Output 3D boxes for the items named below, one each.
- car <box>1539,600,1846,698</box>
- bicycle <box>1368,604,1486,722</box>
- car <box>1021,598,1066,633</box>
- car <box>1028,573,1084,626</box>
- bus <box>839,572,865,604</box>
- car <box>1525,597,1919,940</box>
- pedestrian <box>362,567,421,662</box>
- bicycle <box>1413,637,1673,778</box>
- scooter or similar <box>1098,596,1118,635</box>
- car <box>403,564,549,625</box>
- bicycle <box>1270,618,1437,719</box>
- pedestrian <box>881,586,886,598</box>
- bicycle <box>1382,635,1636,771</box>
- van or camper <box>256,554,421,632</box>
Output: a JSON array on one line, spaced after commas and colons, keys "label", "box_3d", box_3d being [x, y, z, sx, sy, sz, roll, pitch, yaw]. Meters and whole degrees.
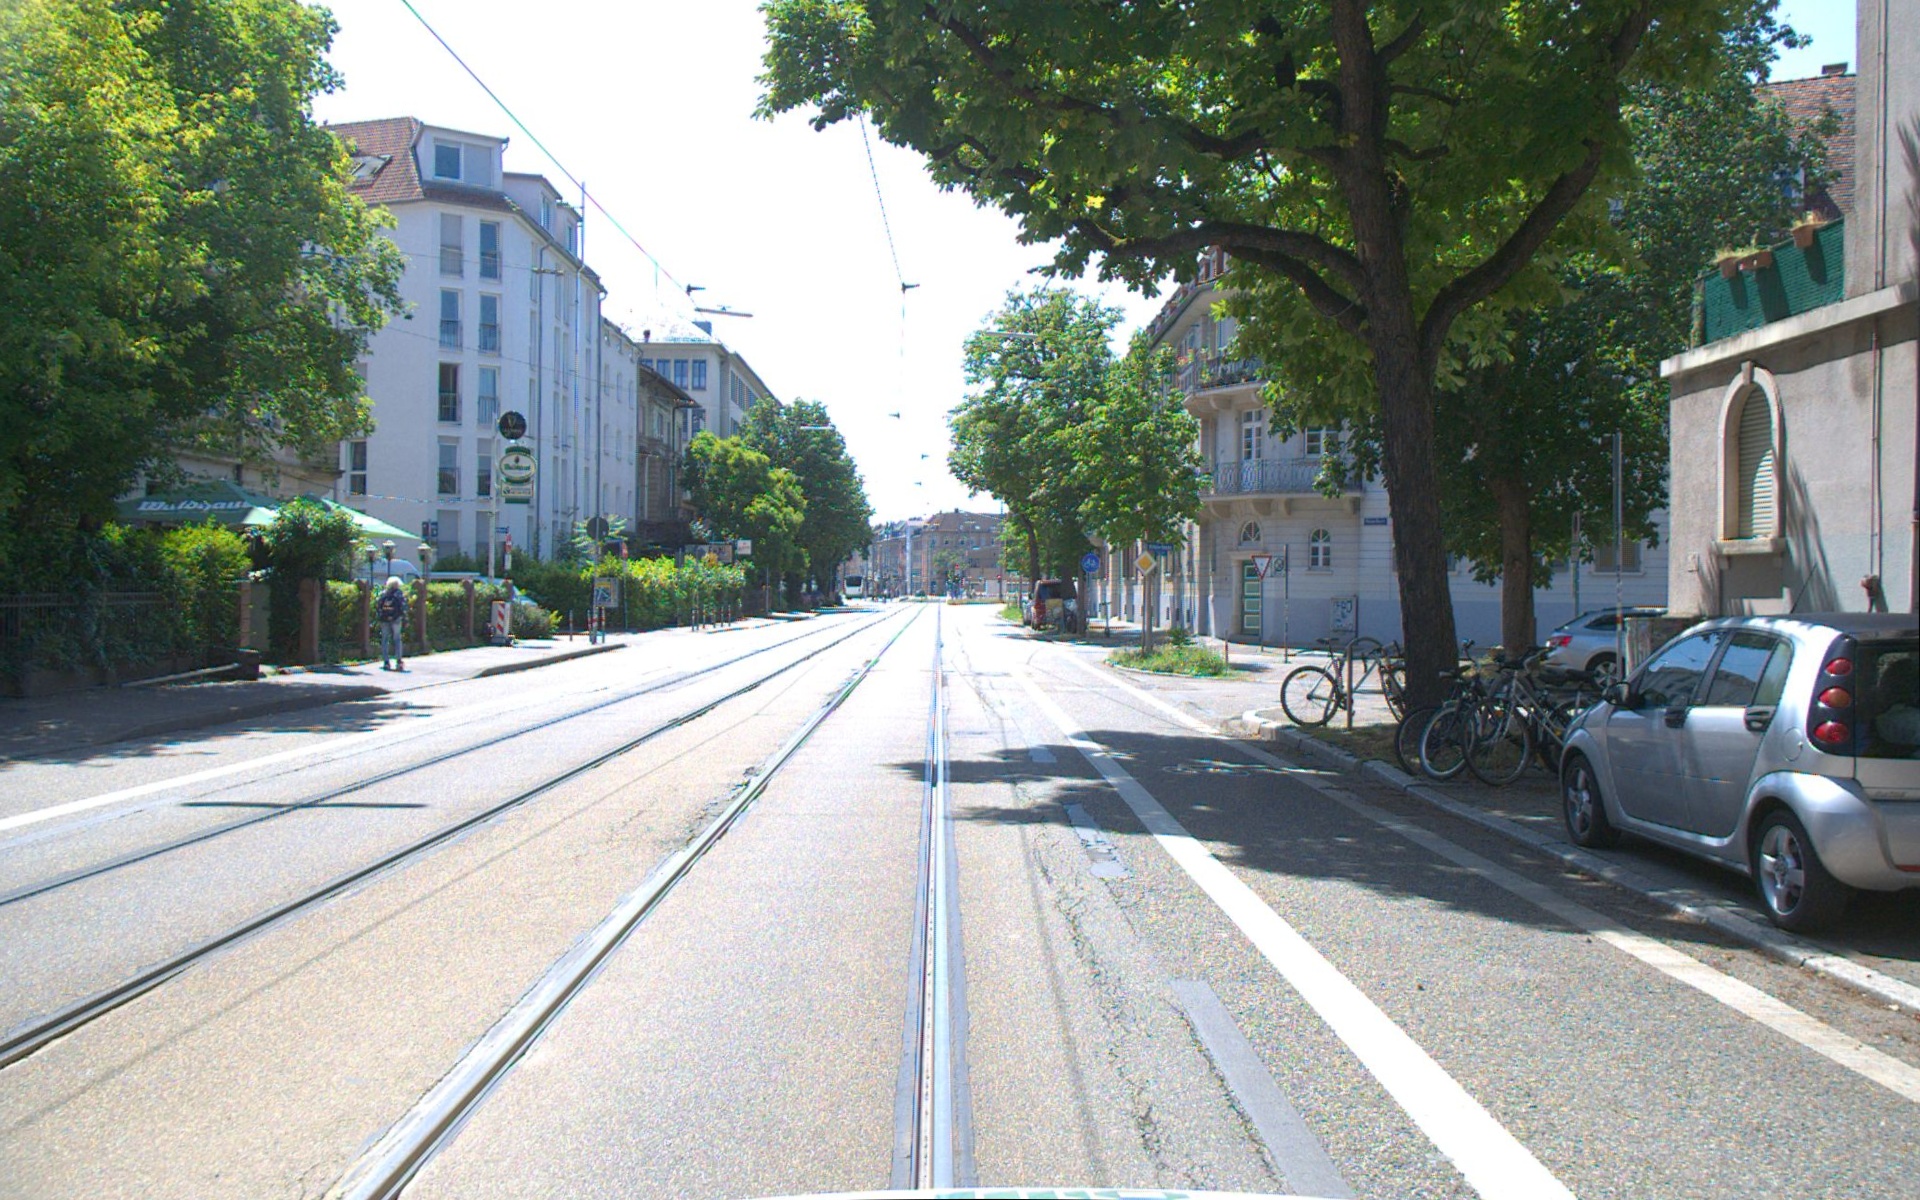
[{"label": "car", "box_3d": [12.290, 0.770, 27.879, 4.590, 1.462, 1.736, 1, 1, 27]}, {"label": "bicycle", "box_3d": [5.216, 0.683, 18.591, 0.569, 1.252, 2.004, 0, -1, -6]}, {"label": "car", "box_3d": [3.780, 0.701, 75.447, 1.748, 1.499, 3.771, 1, 0, -2]}, {"label": "car", "box_3d": [3.922, -0.035, 67.975, 1.953, 2.071, 4.696, 1, 1, -1]}, {"label": "bus", "box_3d": [-14.678, -1.581, 225.663, 2.872, 4.005, 11.272, 3, 0, -1]}, {"label": "car", "box_3d": [4.629, 0.744, 9.183, 1.589, 1.473, 3.809, -2, 0, -1]}, {"label": "pedestrian", "box_3d": [-10.139, 0.255, 29.538, 0.735, 1.657, 0.833, 1, 0, -2]}, {"label": "bicycle", "box_3d": [4.779, 0.876, 13.629, 1.922, 1.133, 0.599, 0, -1, 1]}, {"label": "scooter or similar", "box_3d": [4.977, 0.512, 55.621, 0.491, 1.251, 1.573, 1, 0, -1]}, {"label": "car", "box_3d": [-16.615, -0.195, 56.829, 4.386, 1.937, 2.001, 1, 0, 16]}, {"label": "bicycle", "box_3d": [4.472, 0.769, 18.838, 1.779, 1.133, 0.493, 0, -1, -2]}, {"label": "pedestrian", "box_3d": [-8.201, -0.858, 177.259, 0.483, 1.193, 0.587, 1, 0, -15]}, {"label": "bicycle", "box_3d": [4.706, 0.875, 14.254, 1.968, 1.133, 0.640, 0, -1, 1]}, {"label": "van or camper", "box_3d": [-18.267, -0.196, 48.885, 1.952, 2.156, 4.801, 1, 0, 18]}]
